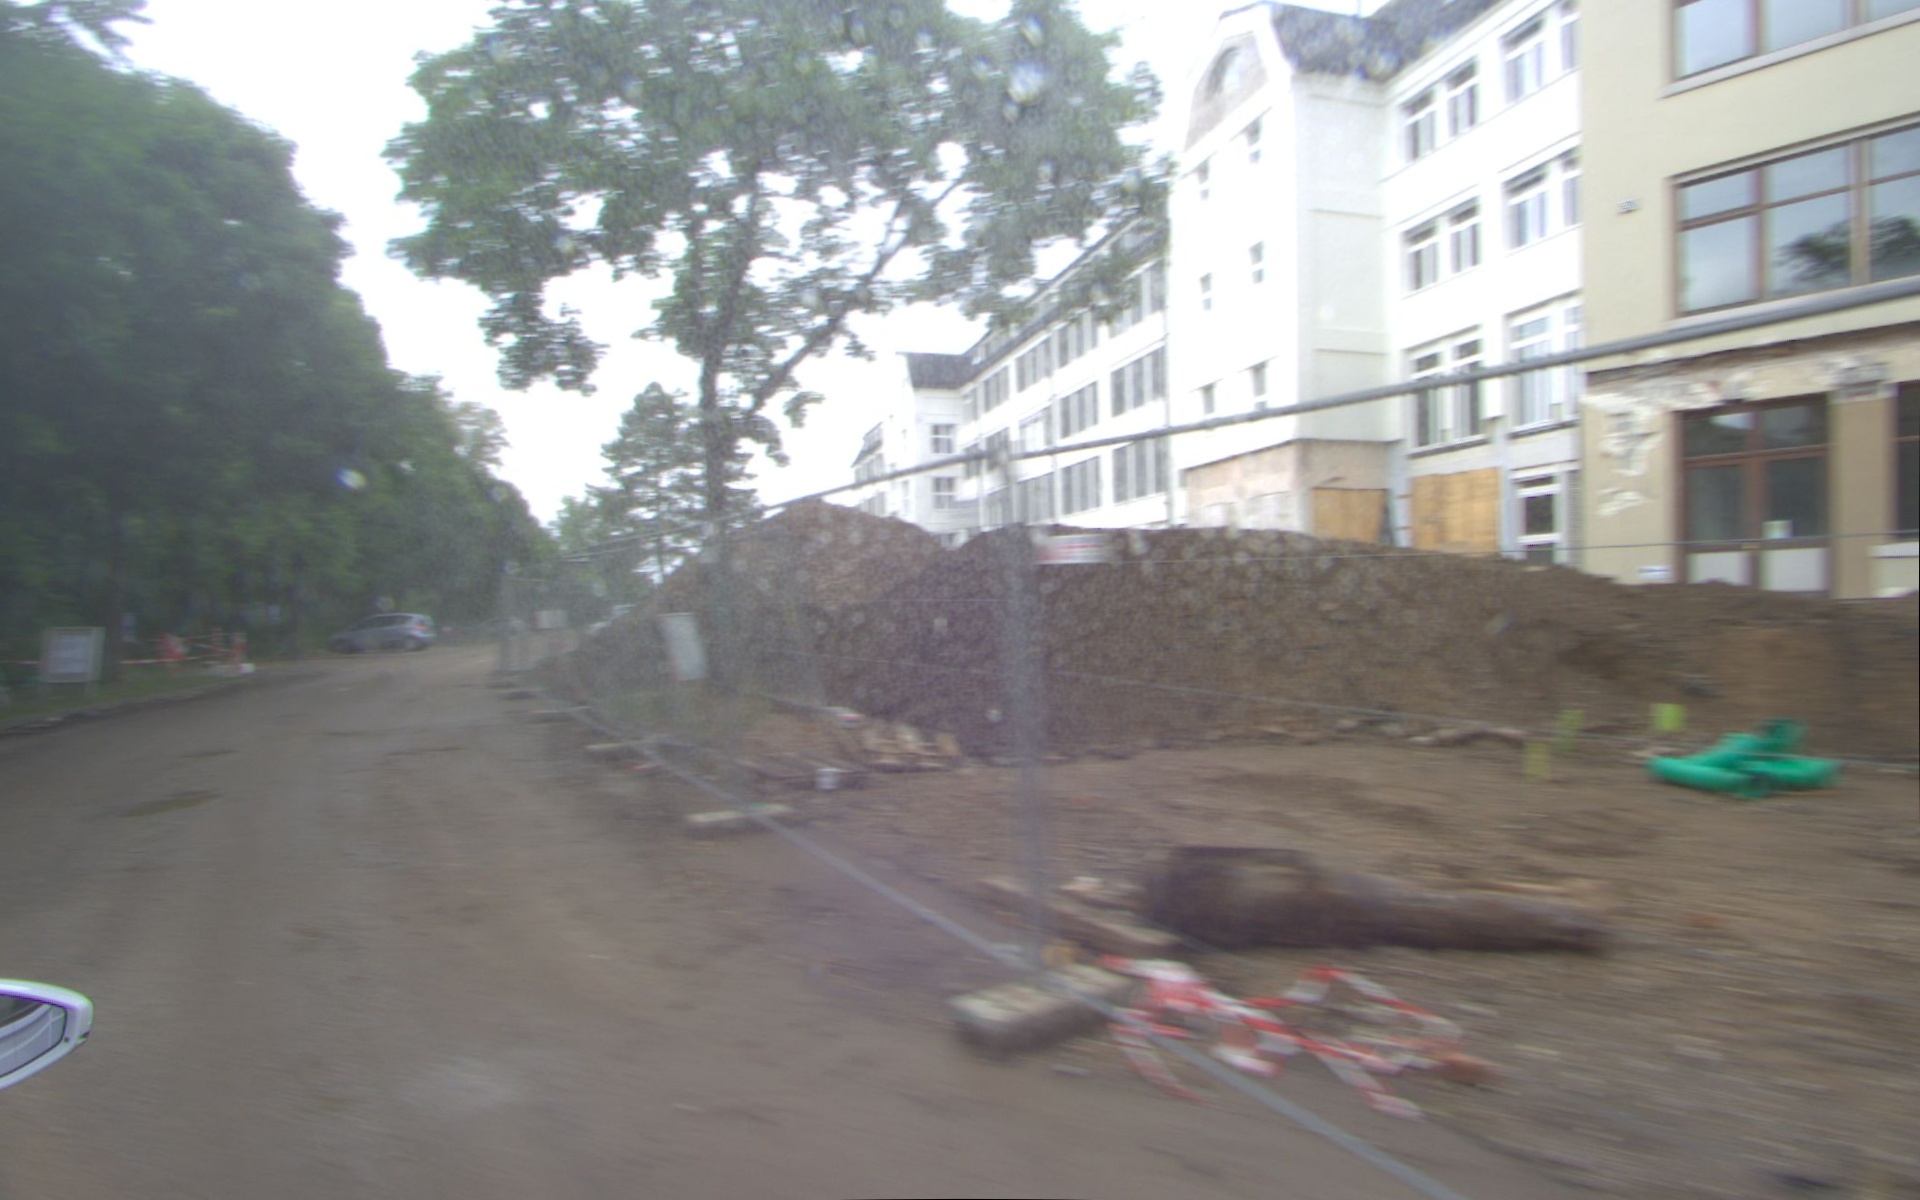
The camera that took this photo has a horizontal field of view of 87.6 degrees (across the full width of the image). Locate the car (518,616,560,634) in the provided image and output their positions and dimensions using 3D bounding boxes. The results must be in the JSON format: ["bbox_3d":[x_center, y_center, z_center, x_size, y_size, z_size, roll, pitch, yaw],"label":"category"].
[{"bbox_3d":[-41.188,2.396,98.071,3.590,1.684,1.778,-1,0,-19],"label":"car"}]

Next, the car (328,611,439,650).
[{"bbox_3d":[-24.041,1.235,41.907,3.645,1.520,1.864,-1,0,-16],"label":"car"}]

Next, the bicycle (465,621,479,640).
[{"bbox_3d":[-27.968,1.737,57.333,0.582,0.991,2.021,-1,0,-30],"label":"bicycle"}]

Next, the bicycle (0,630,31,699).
[{"bbox_3d":[-13.826,0.914,14.431,0.415,0.916,1.146,6,-4,-34],"label":"bicycle"}]

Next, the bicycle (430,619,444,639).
[{"bbox_3d":[-28.013,1.543,53.573,0.582,0.991,2.021,-1,0,-30],"label":"bicycle"}]

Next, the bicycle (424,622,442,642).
[{"bbox_3d":[-27.033,1.638,51.365,0.762,0.991,2.021,-1,0,-30],"label":"bicycle"}]

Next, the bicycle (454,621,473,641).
[{"bbox_3d":[-25.870,1.617,52.120,0.762,0.991,2.021,-1,0,-30],"label":"bicycle"}]

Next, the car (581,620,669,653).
[{"bbox_3d":[-16.773,1.805,50.353,3.979,1.553,1.847,-1,0,-12],"label":"car"}]

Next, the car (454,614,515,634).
[{"bbox_3d":[-37.944,1.903,79.942,1.977,1.528,3.968,-1,0,41],"label":"car"}]
